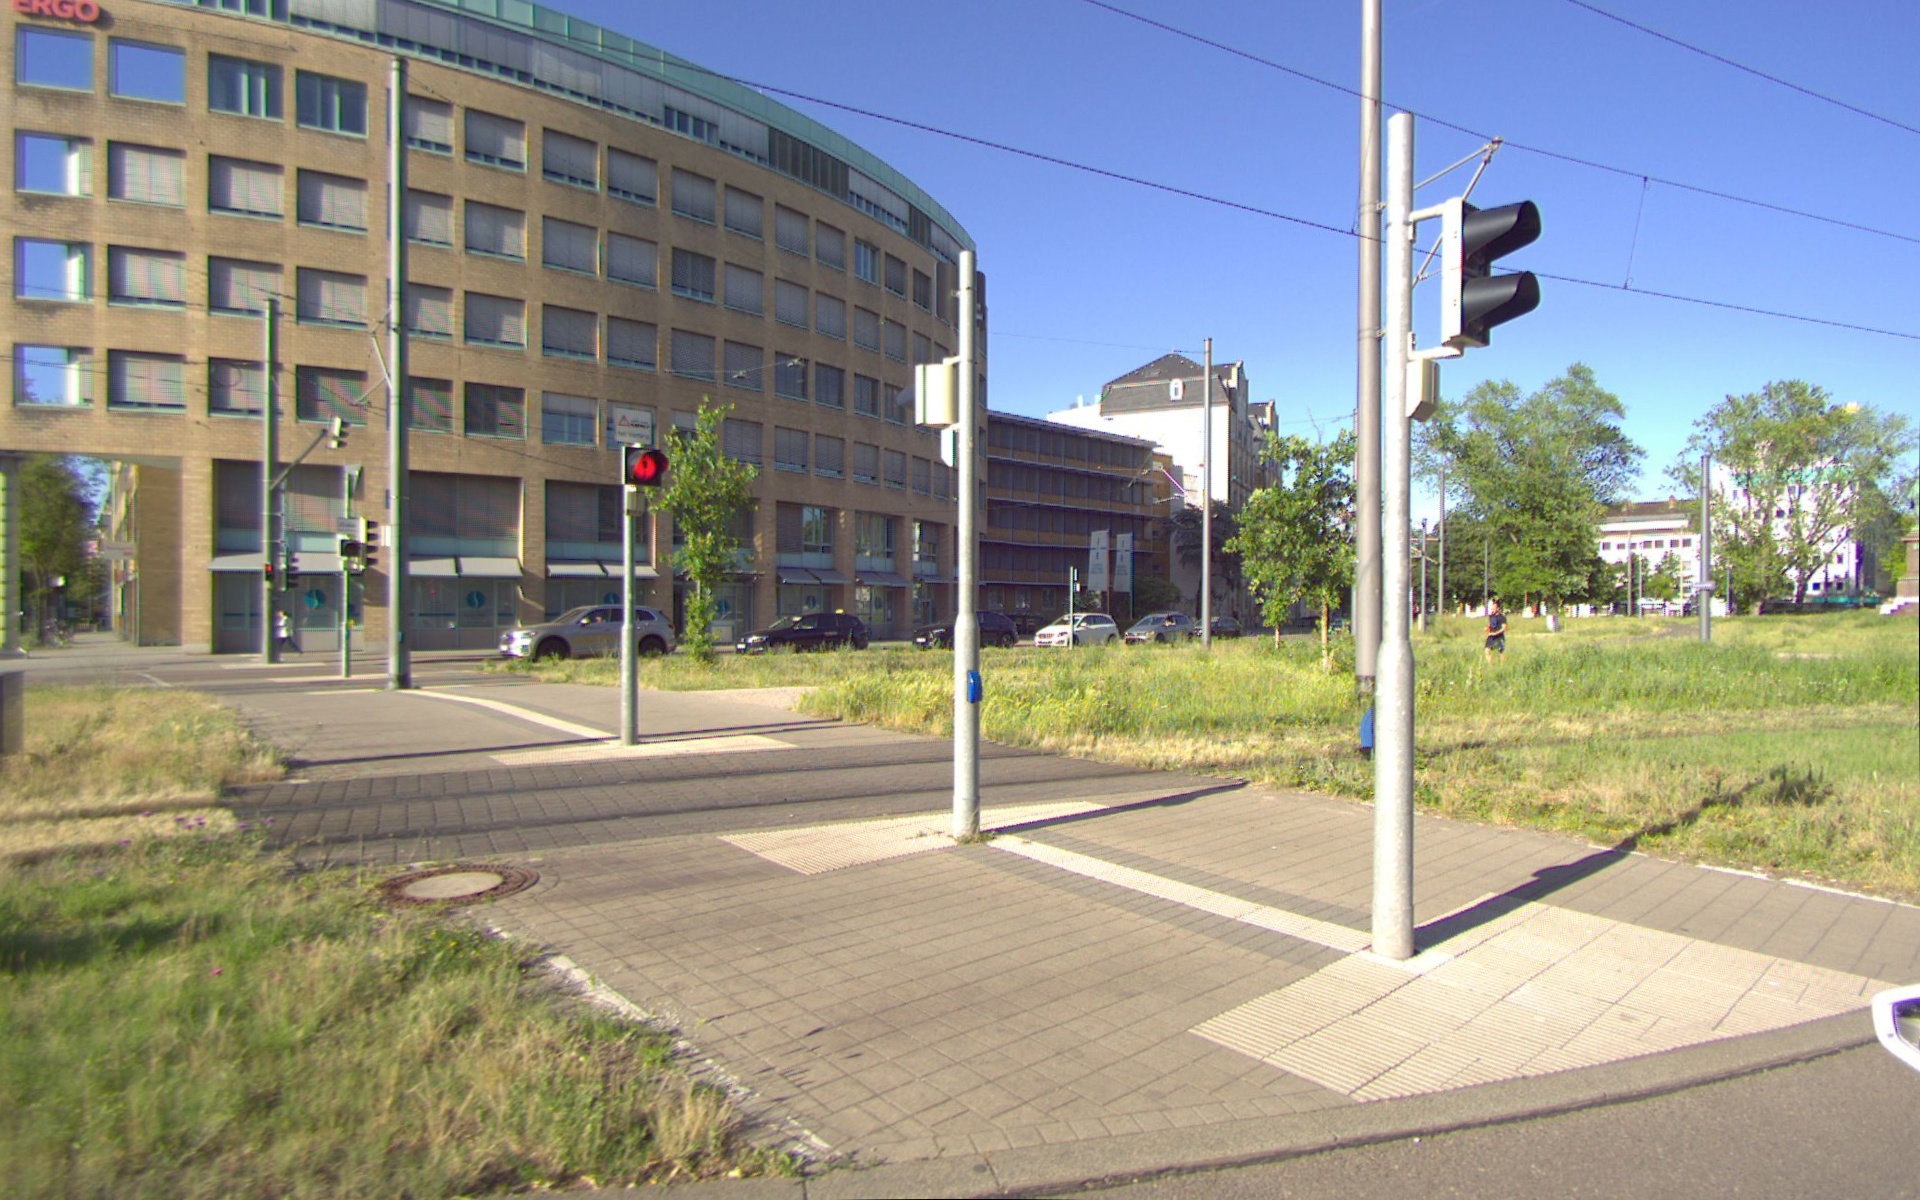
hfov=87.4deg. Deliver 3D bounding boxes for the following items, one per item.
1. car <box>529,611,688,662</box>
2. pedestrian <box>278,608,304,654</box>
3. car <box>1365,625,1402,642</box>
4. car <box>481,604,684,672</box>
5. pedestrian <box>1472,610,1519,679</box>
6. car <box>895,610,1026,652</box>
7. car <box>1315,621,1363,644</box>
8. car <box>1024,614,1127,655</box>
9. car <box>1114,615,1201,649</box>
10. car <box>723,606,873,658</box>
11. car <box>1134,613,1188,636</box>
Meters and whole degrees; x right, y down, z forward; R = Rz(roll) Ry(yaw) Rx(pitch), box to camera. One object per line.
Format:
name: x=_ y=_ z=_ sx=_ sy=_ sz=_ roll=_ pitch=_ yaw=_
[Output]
car: x=-13.003 y=1.338 z=37.375 sx=5.173 sy=1.690 sz=2.098 roll=2 pitch=1 yaw=-43
pedestrian: x=-23.239 y=1.079 z=34.892 sx=0.705 sy=1.552 sz=0.593 roll=2 pitch=1 yaw=-34
car: x=38.919 y=3.073 z=92.206 sx=1.969 sy=1.372 sz=4.748 roll=2 pitch=1 yaw=38
car: x=-10.672 y=1.013 z=28.670 sx=5.051 sy=1.757 sz=2.079 roll=1 pitch=0 yaw=-44
pedestrian: x=13.473 y=1.109 z=25.269 sx=0.732 sy=1.693 sz=0.733 roll=1 pitch=0 yaw=-17
car: x=0.061 y=1.207 z=39.105 sx=4.978 sy=1.467 sz=1.977 roll=2 pitch=1 yaw=-40
car: x=29.508 y=2.550 z=78.065 sx=1.972 sy=1.532 sz=4.259 roll=1 pitch=-3 yaw=43
car: x=5.089 y=1.500 z=43.815 sx=4.625 sy=1.617 sz=1.974 roll=2 pitch=1 yaw=-44
car: x=9.450 y=1.492 z=47.848 sx=1.972 sy=1.446 sz=4.484 roll=3 pitch=1 yaw=43
car: x=-5.346 y=1.048 z=33.513 sx=4.630 sy=1.537 sz=1.974 roll=2 pitch=1 yaw=-44
car: x=15.677 y=1.889 z=78.305 sx=3.921 sy=1.602 sz=2.000 roll=2 pitch=1 yaw=19
